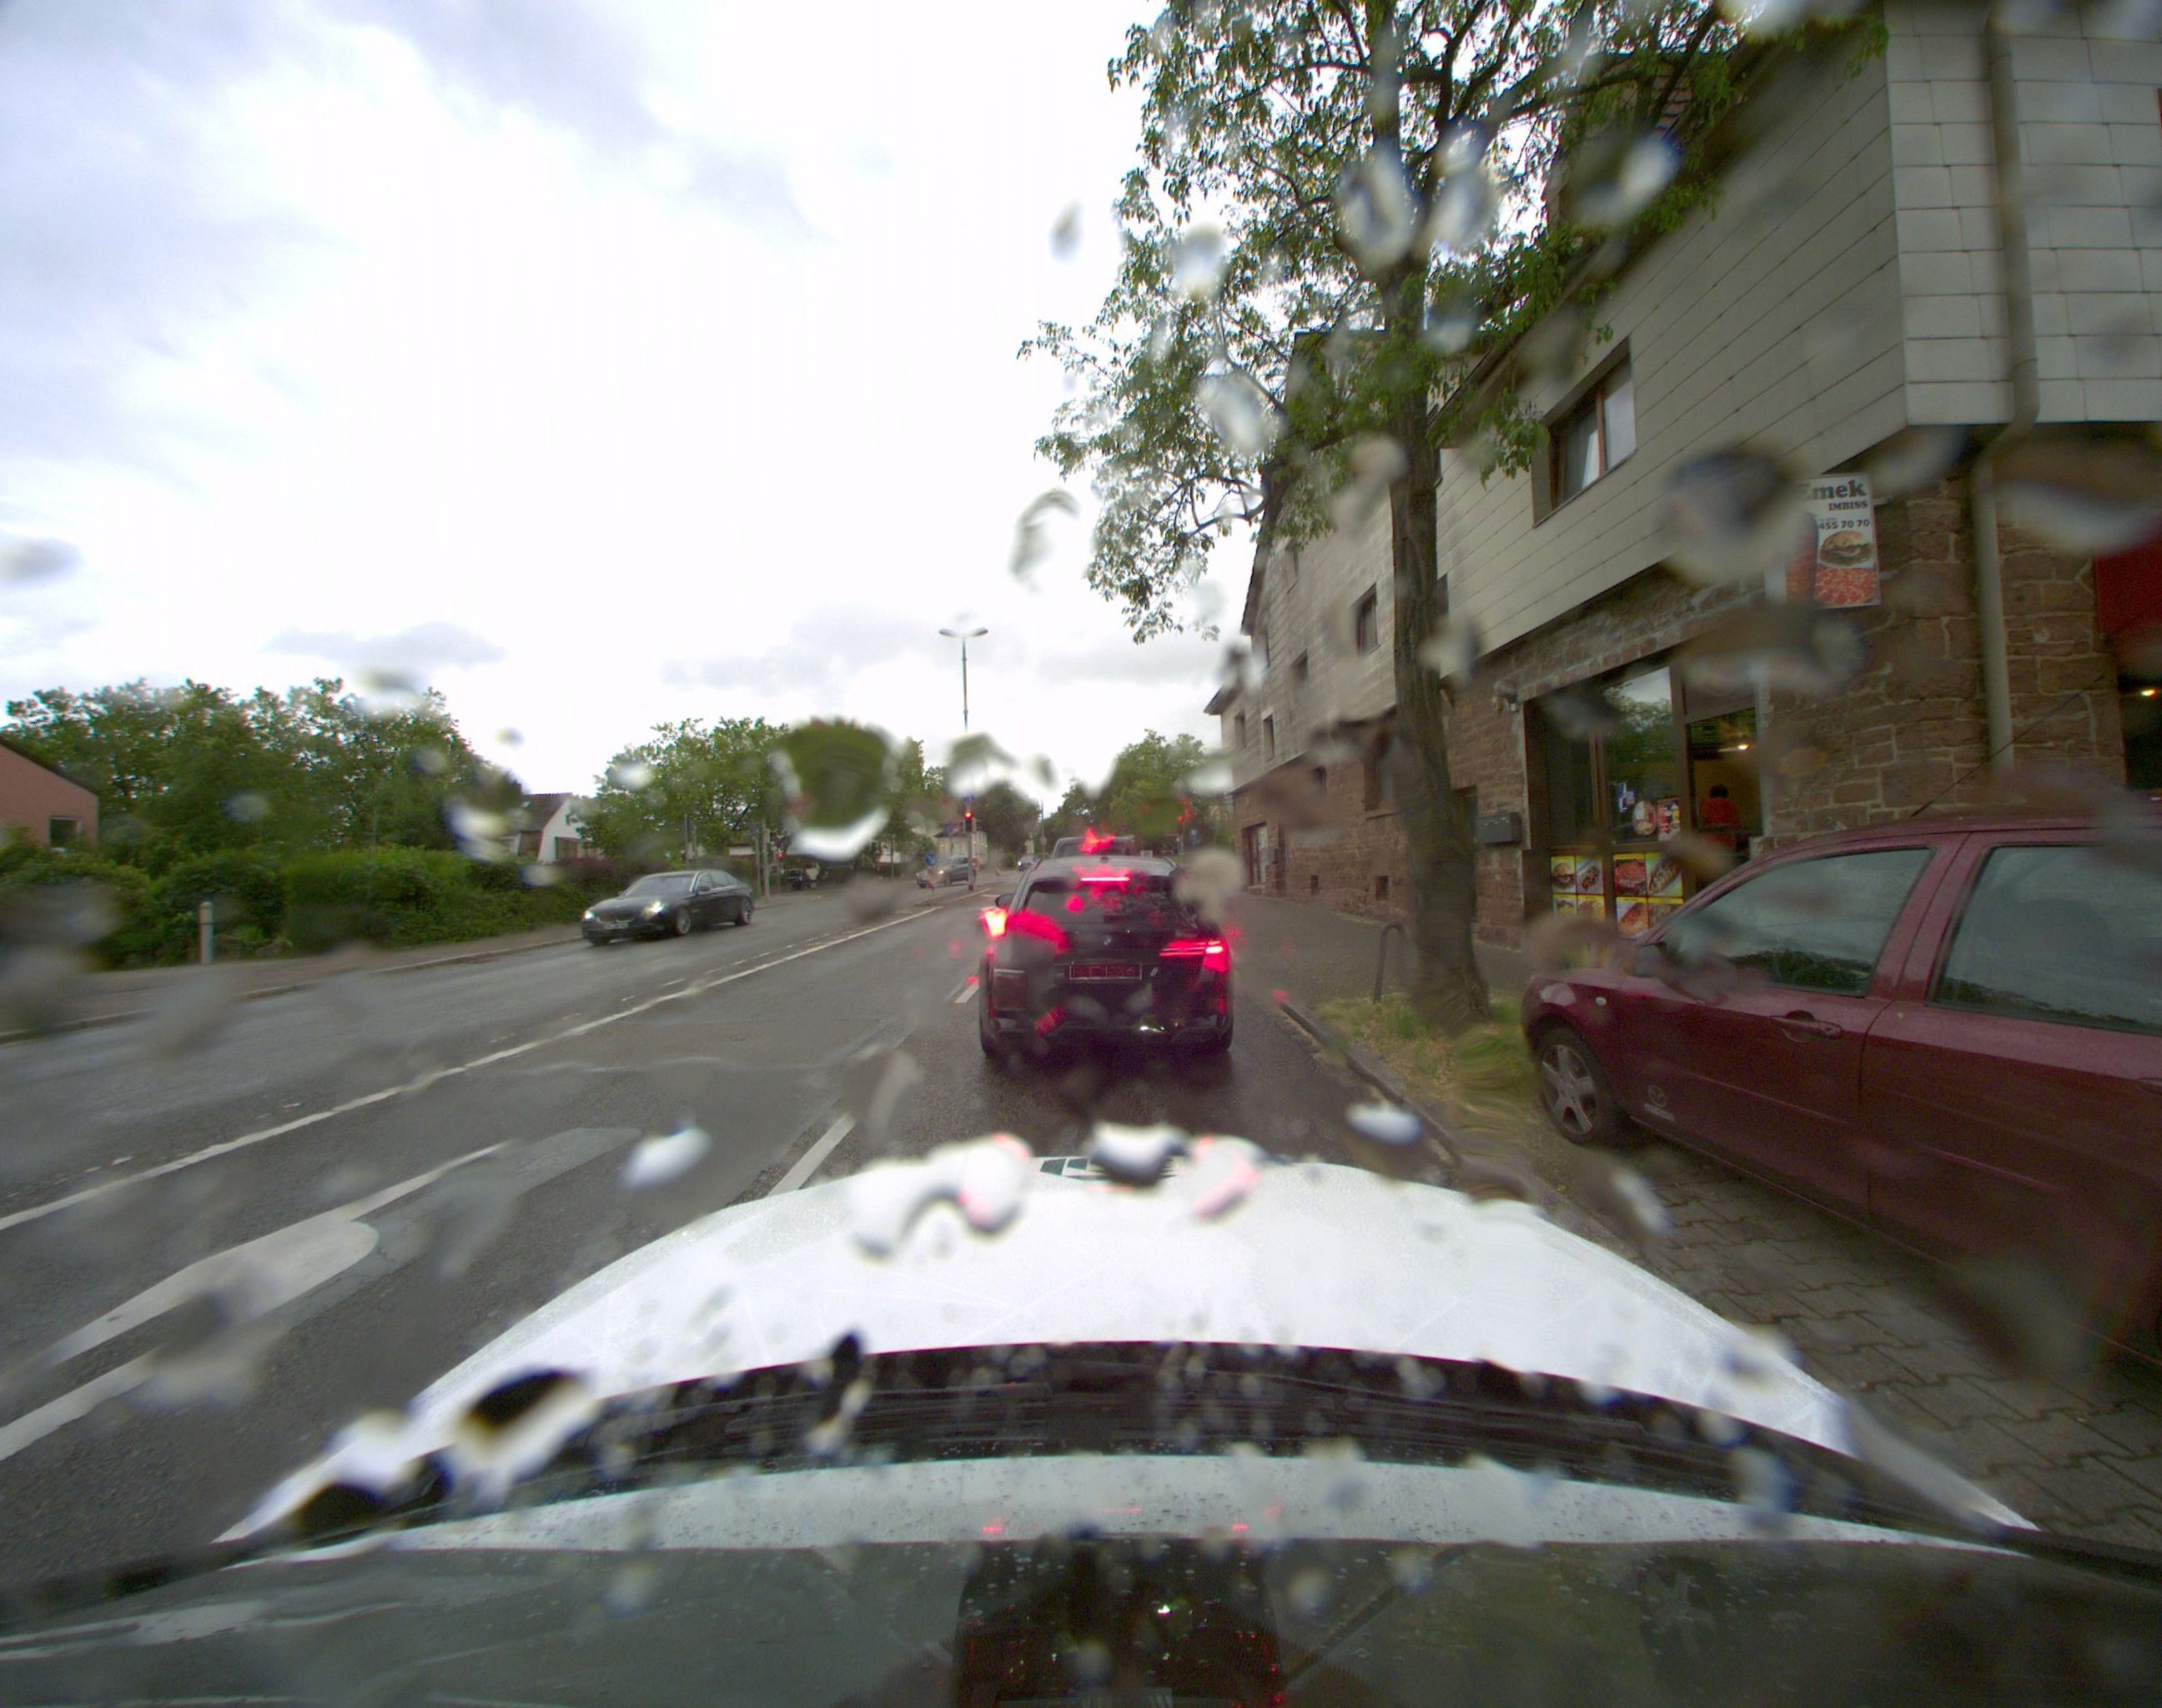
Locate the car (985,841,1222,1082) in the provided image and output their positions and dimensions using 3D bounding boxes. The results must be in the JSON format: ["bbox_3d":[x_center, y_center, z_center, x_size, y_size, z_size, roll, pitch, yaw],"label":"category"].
[{"bbox_3d":[0.119,0.706,7.017,1.519,1.534,3.530,0,-1,-1],"label":"car"}]

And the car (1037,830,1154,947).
[{"bbox_3d":[0.197,0.559,14.598,1.807,1.809,3.754,0,-1,-1],"label":"car"}]

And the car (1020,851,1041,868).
[{"bbox_3d":[-5.157,0.536,83.623,1.893,1.577,4.500,-2,1,-1],"label":"car"}]

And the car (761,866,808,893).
[{"bbox_3d":[-20.974,1.777,57.781,1.803,1.551,4.001,0,3,0],"label":"car"}]

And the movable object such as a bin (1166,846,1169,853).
[{"bbox_3d":[12.240,-0.625,115.176,0.446,0.906,0.465,-1,-1,17],"label":"movable object such as a bin"}]

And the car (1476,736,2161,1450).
[{"bbox_3d":[3.060,0.533,2.700,1.606,1.504,3.754,0,-2,-1],"label":"car"}]

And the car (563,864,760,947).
[{"bbox_3d":[-9.337,1.055,18.717,1.905,1.454,4.946,-6,0,-1],"label":"car"}]

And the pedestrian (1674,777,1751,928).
[{"bbox_3d":[7.114,-0.014,9.190,0.490,1.660,0.455,0,-1,1],"label":"pedestrian"}]

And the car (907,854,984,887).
[{"bbox_3d":[-7.586,0.891,45.898,1.890,1.590,4.345,-3,0,29],"label":"car"}]
